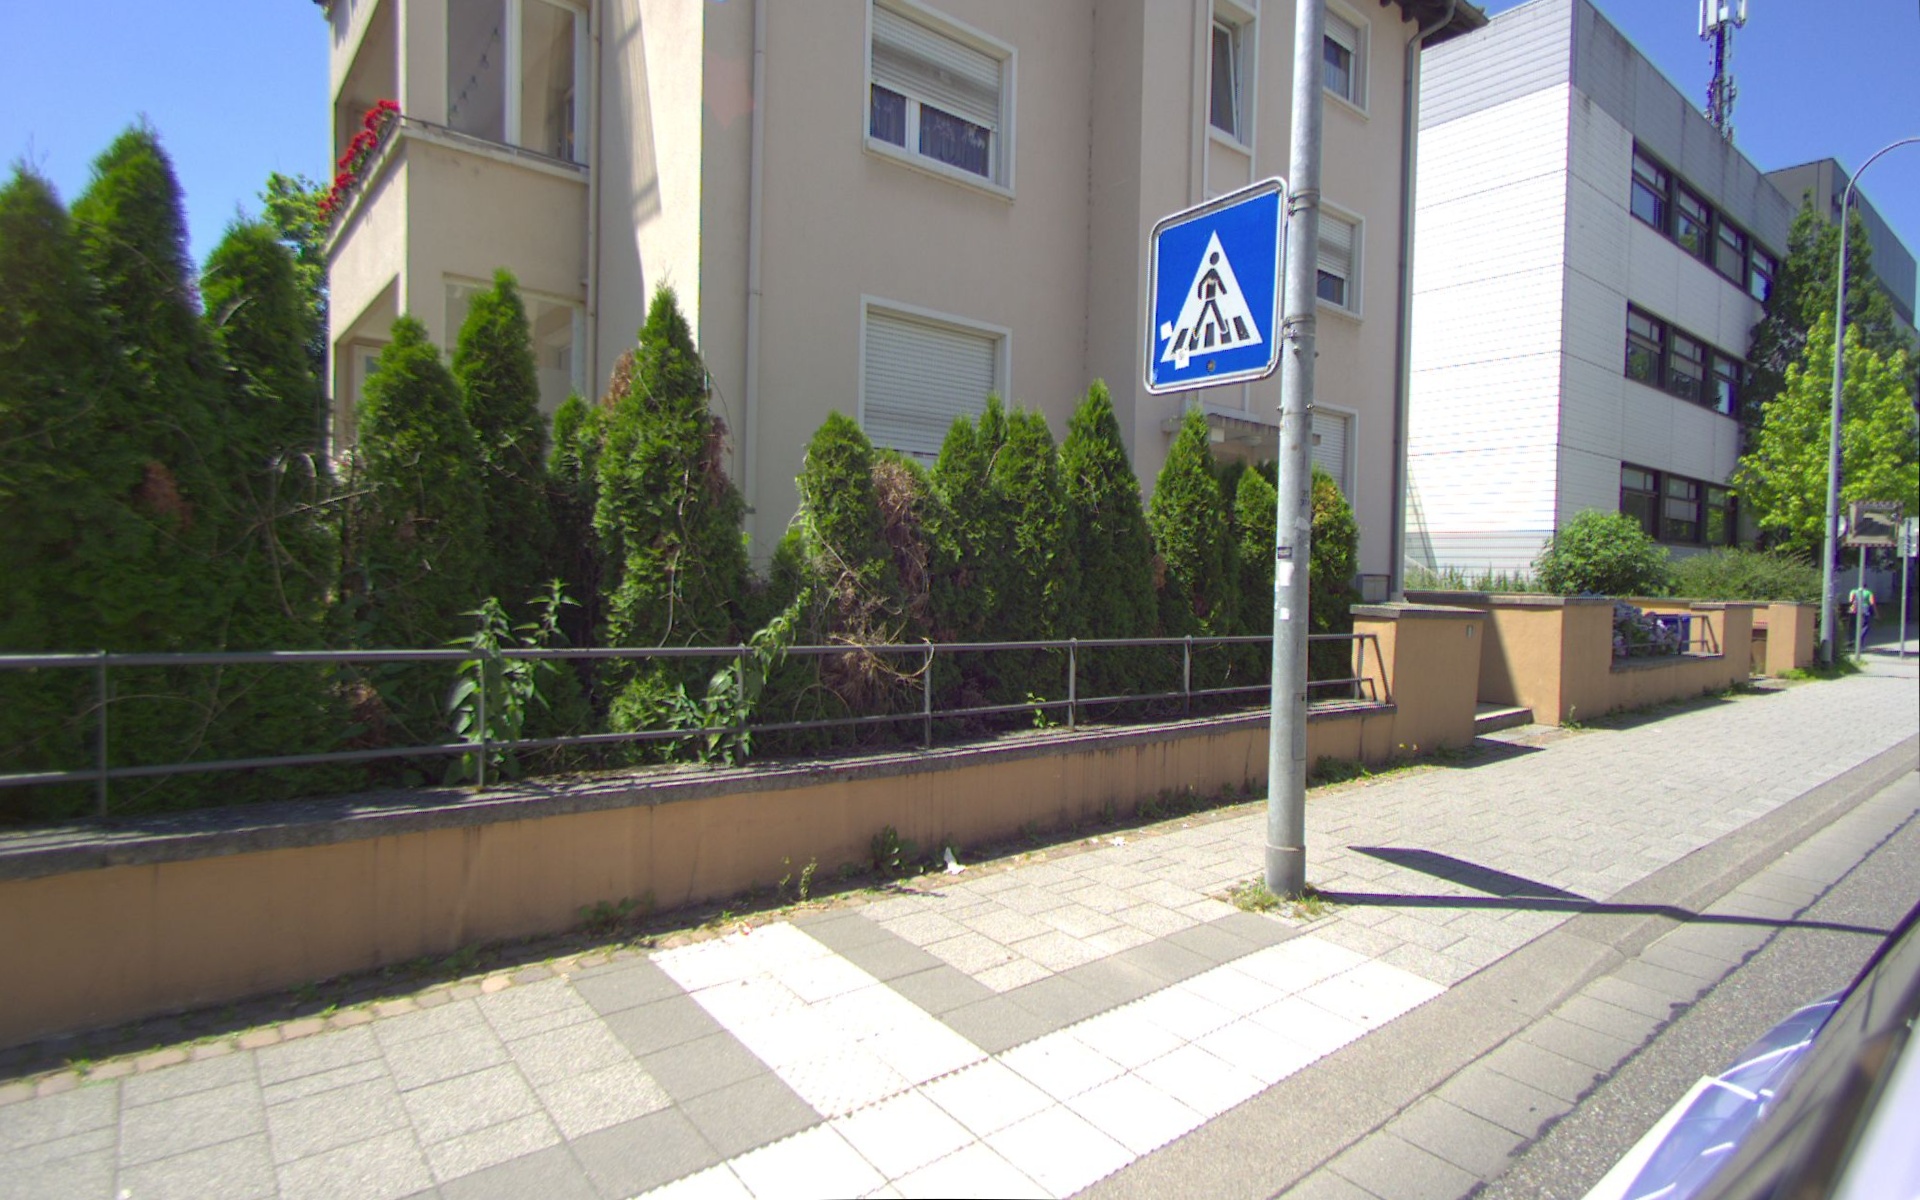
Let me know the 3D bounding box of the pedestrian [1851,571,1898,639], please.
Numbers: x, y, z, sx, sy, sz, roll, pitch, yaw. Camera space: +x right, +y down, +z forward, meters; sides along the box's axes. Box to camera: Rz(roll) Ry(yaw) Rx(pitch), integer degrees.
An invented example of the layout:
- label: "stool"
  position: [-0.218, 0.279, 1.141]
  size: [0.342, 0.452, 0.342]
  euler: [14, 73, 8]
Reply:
- label: "pedestrian"
  position: [24.150, 0.120, 26.719]
  size: [1.031, 1.720, 0.681]
  euler: [0, 4, -39]
